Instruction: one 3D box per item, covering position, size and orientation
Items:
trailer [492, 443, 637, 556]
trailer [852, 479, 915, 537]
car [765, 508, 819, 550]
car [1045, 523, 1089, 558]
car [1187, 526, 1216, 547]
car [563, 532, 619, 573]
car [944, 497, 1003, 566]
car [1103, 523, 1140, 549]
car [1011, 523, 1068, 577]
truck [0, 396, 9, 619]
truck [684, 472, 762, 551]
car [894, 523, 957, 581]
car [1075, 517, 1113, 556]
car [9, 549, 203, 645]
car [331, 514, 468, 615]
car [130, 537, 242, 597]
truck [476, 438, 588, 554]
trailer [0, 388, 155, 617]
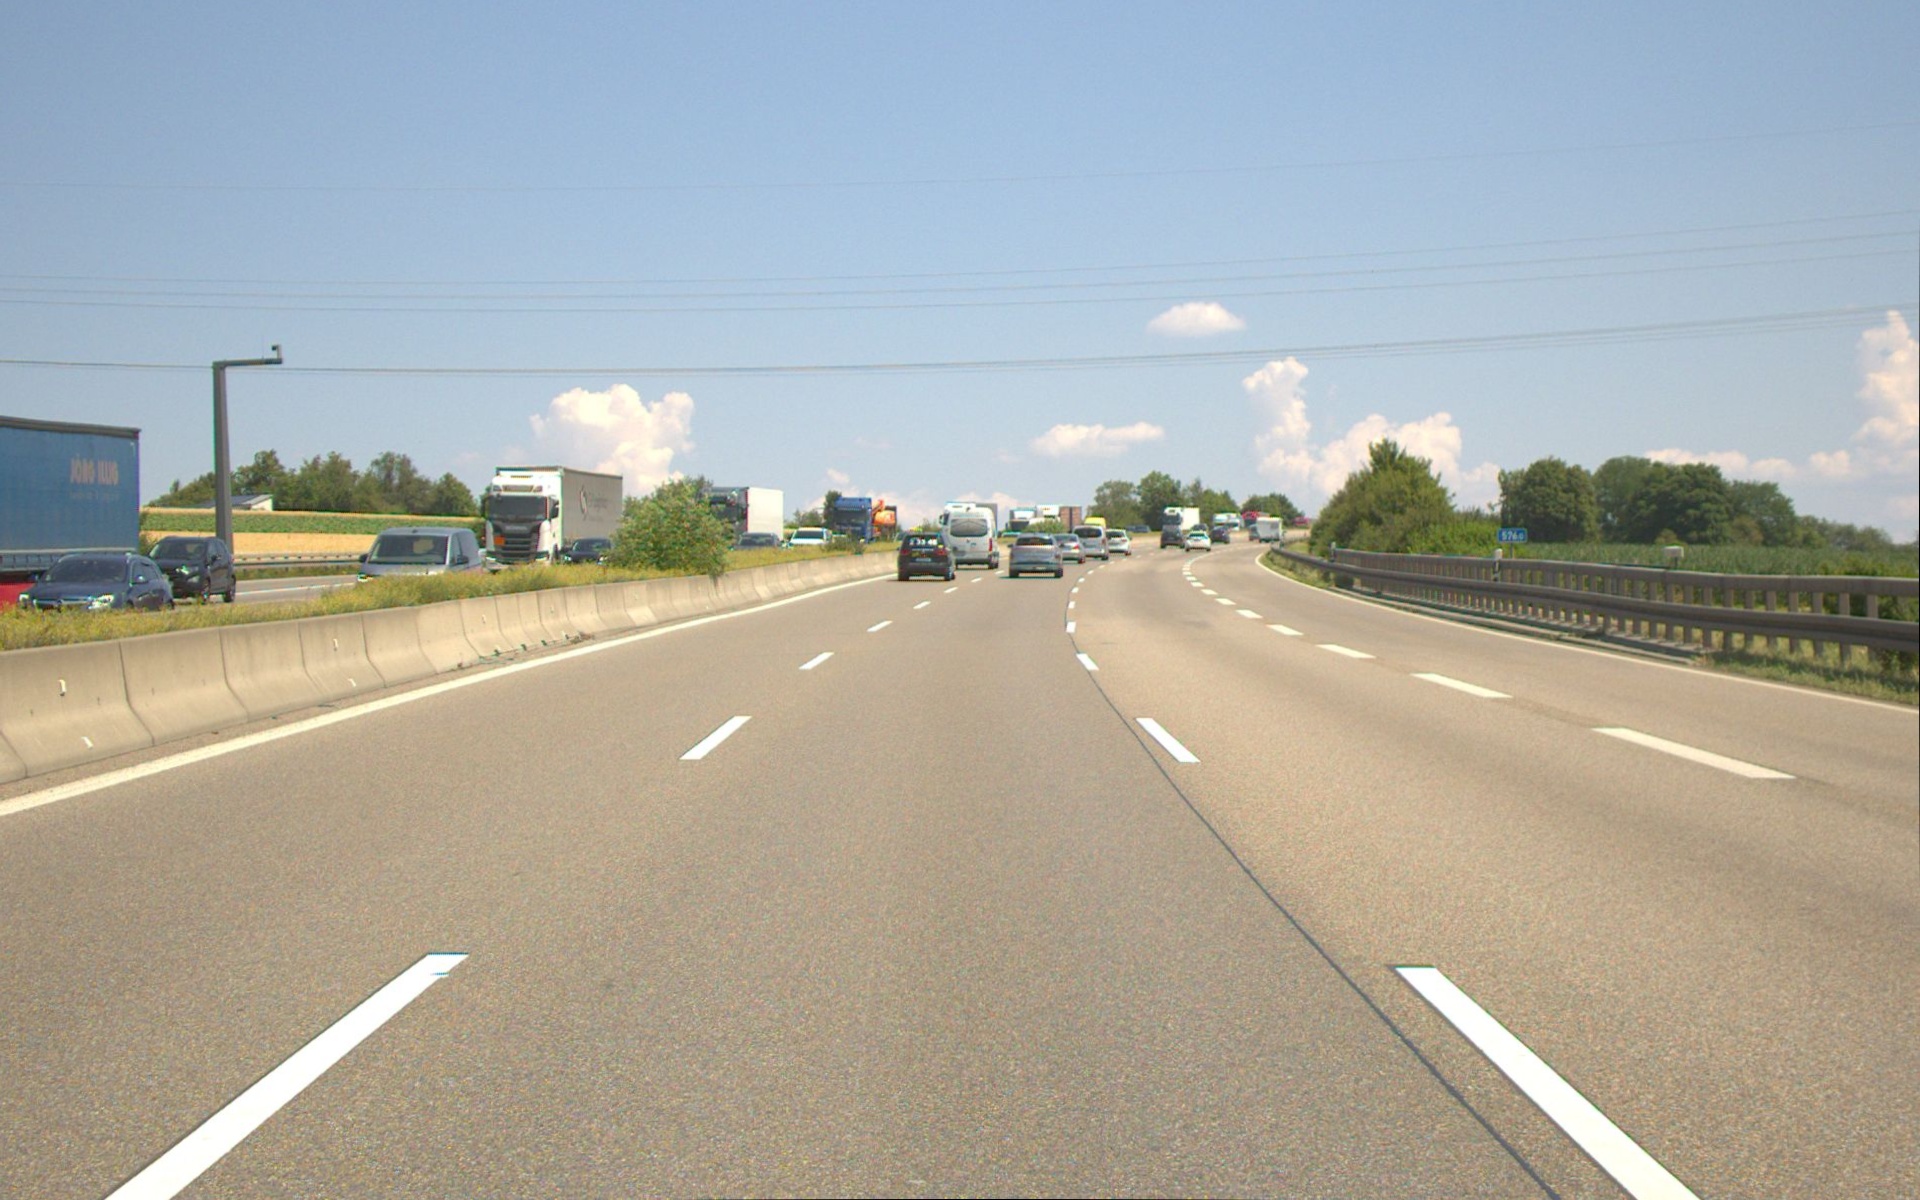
[{"bbox_3d":[-15.752,-3.954,138.252,3.124,4.309,14.543,0,1,4],"label":"trailer"},{"bbox_3d":[-5.356,-6.445,242.993,2.839,3.944,13.726,0,1,5],"label":"trailer"},{"bbox_3d":[-7.870,-3.297,161.302,1.994,1.897,5.676,1,1,3],"label":"car"},{"bbox_3d":[5.115,-2.841,165.201,1.993,1.579,4.000,0,0,0],"label":"car"},{"bbox_3d":[17.367,-4.567,247.175,1.902,1.437,3.999,0,1,6],"label":"car"},{"bbox_3d":[-12.944,-1.684,120.778,1.624,1.399,3.731,0,1,-1],"label":"car"},{"bbox_3d":[0.600,-2.830,143.210,2.180,2.616,4.671,1,-1,3],"label":"car"},{"bbox_3d":[10.124,-4.021,215.204,1.994,1.546,3.999,2,2,6],"label":"car"},{"bbox_3d":[2.826,-1.768,122.264,1.993,1.744,3.999,1,-1,2],"label":"car"},{"bbox_3d":[-19.197,-1.656,60.096,3.076,4.076,6.935,1,1,1],"label":"truck"},{"bbox_3d":[-12.762,-4.776,185.394,3.227,4.192,7.125,0,1,4],"label":"truck"},{"bbox_3d":[-1.145,-1.635,115.307,1.847,1.854,4.205,0,2,3],"label":"car"},{"bbox_3d":[7.118,-3.372,183.355,1.993,1.897,3.999,0,-1,2],"label":"car"},{"bbox_3d":[-14.651,-0.094,59.312,1.913,1.536,5.743,1,1,0],"label":"car"},{"bbox_3d":[-11.424,-0.749,70.391,1.913,1.963,5.447,1,1,0],"label":"car"},{"bbox_3d":[-18.930,-0.830,84.207,1.657,1.380,4.350,1,1,1],"label":"car"},{"bbox_3d":[-16.288,-3.945,131.350,3.132,4.313,6.146,0,1,4],"label":"truck"},{"bbox_3d":[-19.013,-1.852,66.304,3.161,4.179,14.380,1,1,2],"label":"trailer"}]
